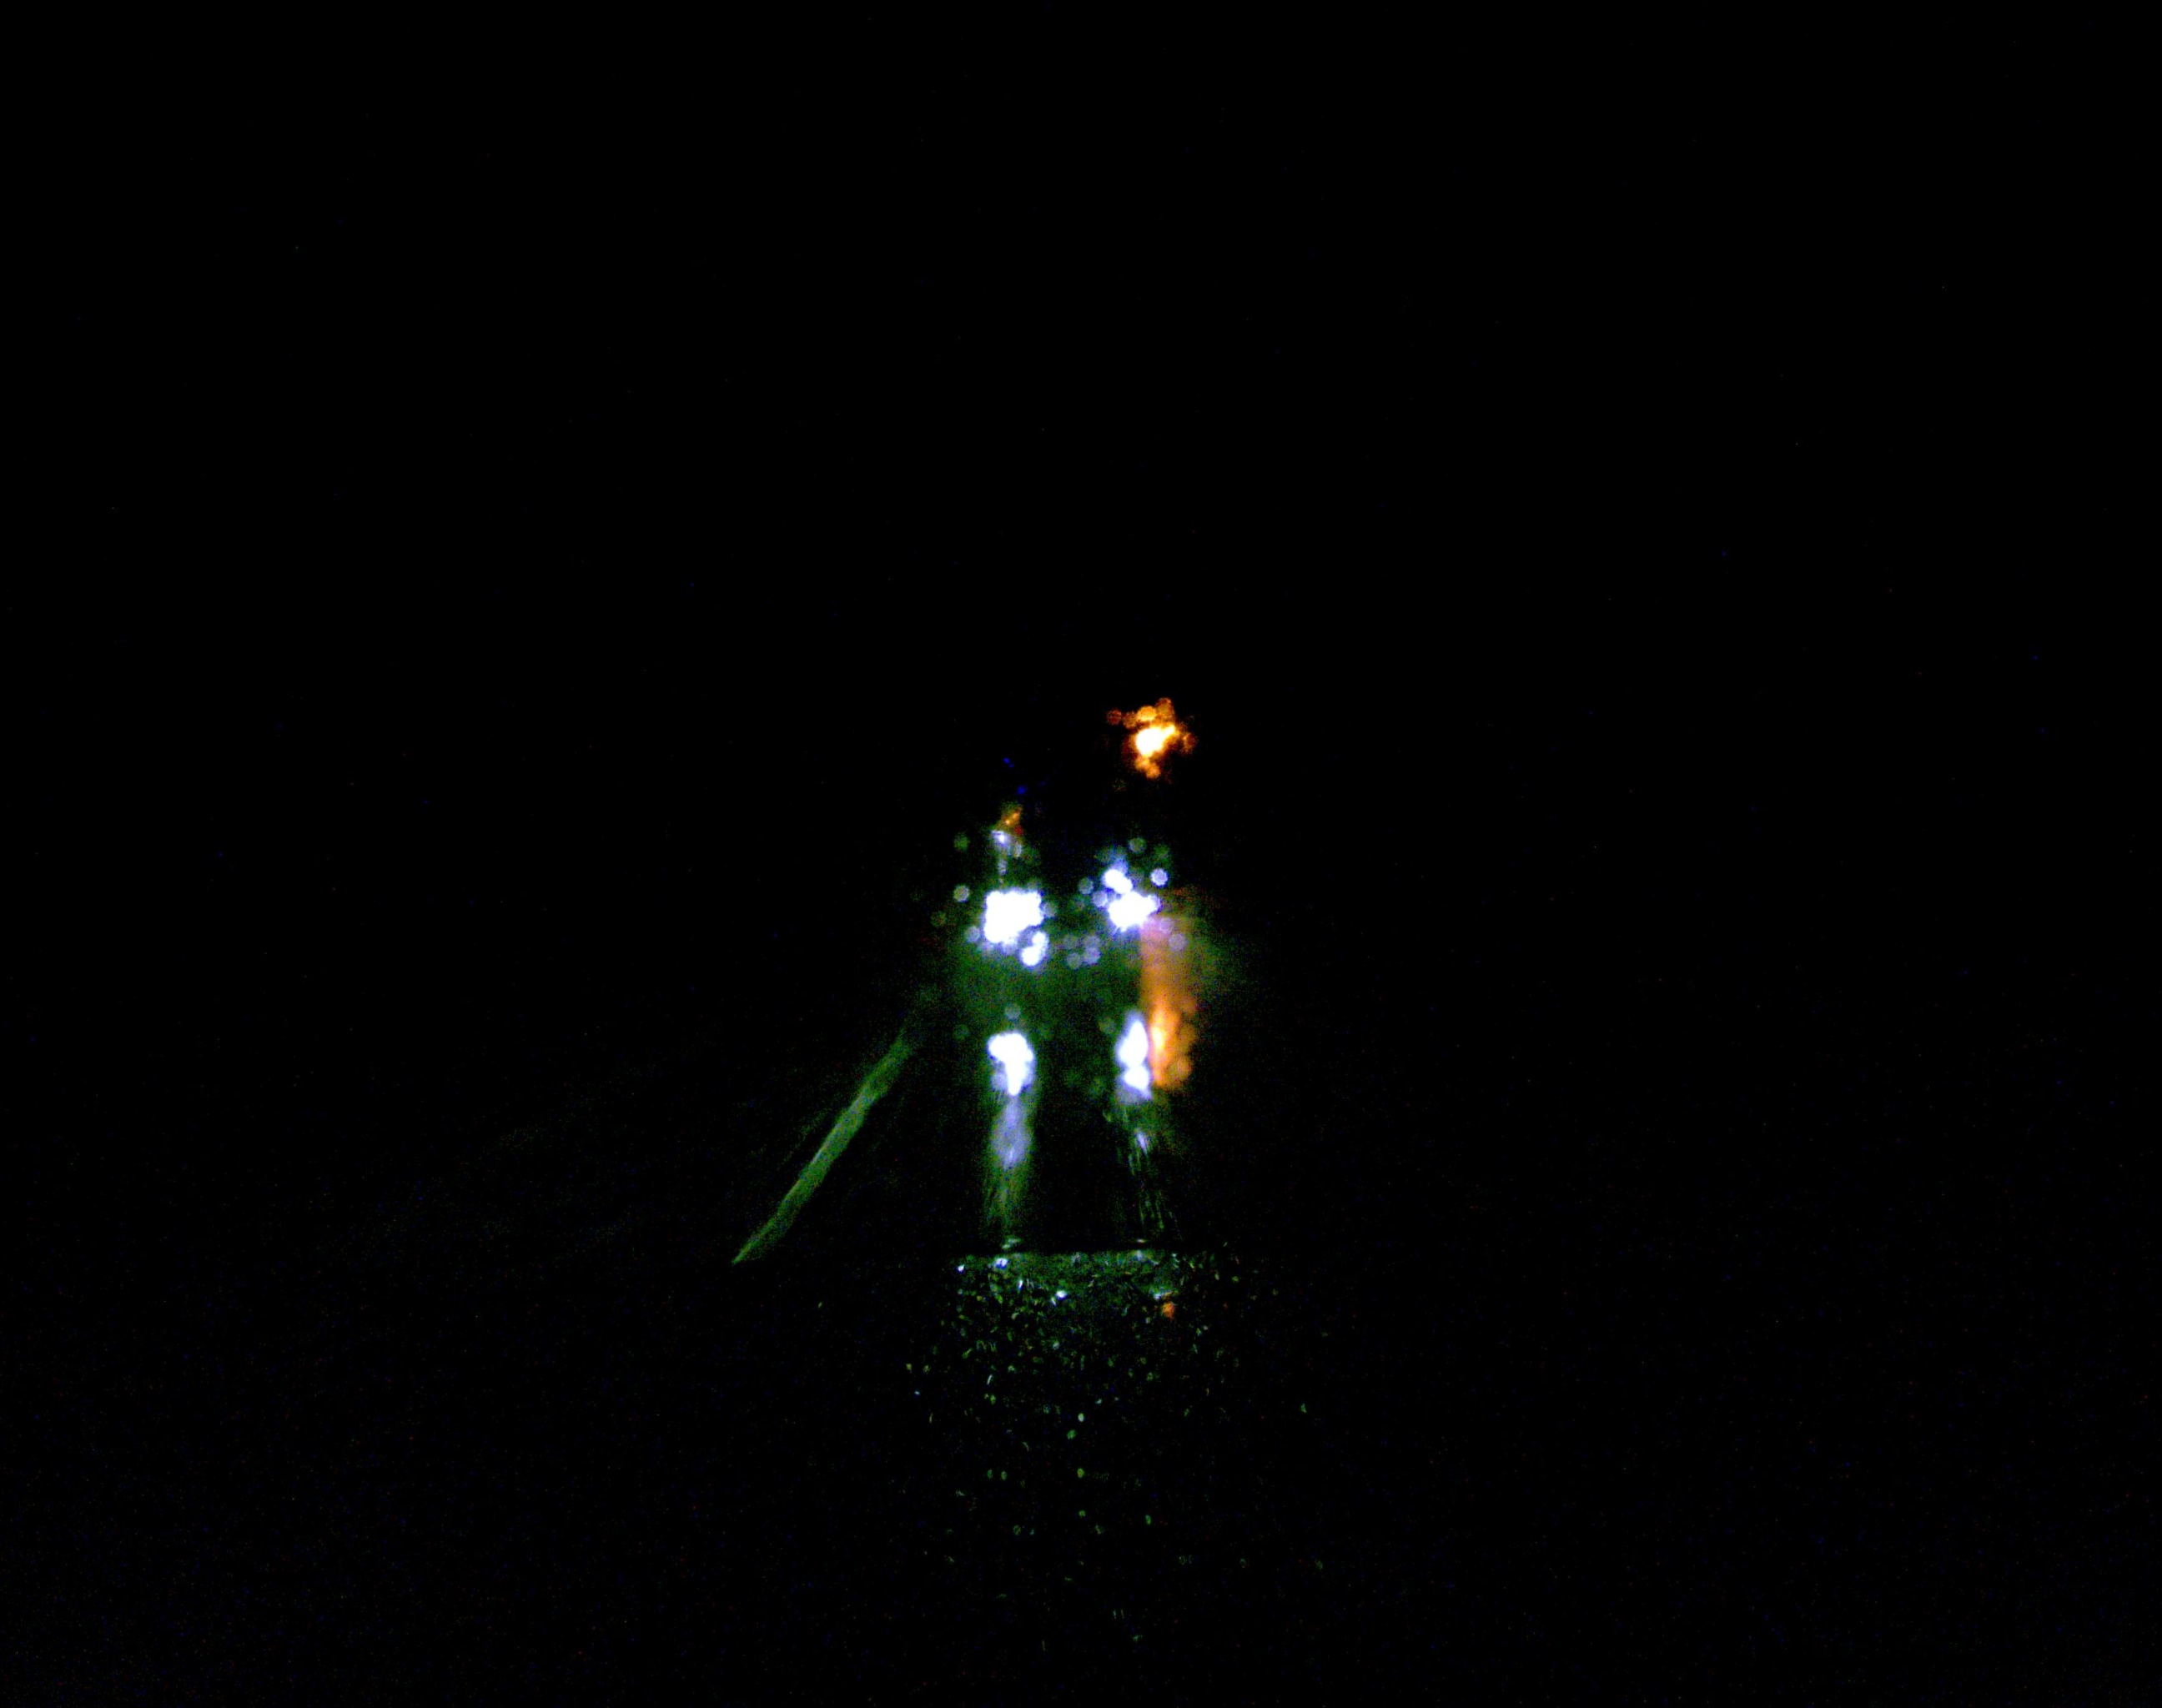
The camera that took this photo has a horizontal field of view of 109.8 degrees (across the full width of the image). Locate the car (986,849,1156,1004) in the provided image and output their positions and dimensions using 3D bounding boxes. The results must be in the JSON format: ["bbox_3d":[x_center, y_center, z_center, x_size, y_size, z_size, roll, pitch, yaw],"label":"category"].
[{"bbox_3d":[-0.336,0.815,10.896,1.894,1.678,4.336,-2,1,-6],"label":"car"}]
